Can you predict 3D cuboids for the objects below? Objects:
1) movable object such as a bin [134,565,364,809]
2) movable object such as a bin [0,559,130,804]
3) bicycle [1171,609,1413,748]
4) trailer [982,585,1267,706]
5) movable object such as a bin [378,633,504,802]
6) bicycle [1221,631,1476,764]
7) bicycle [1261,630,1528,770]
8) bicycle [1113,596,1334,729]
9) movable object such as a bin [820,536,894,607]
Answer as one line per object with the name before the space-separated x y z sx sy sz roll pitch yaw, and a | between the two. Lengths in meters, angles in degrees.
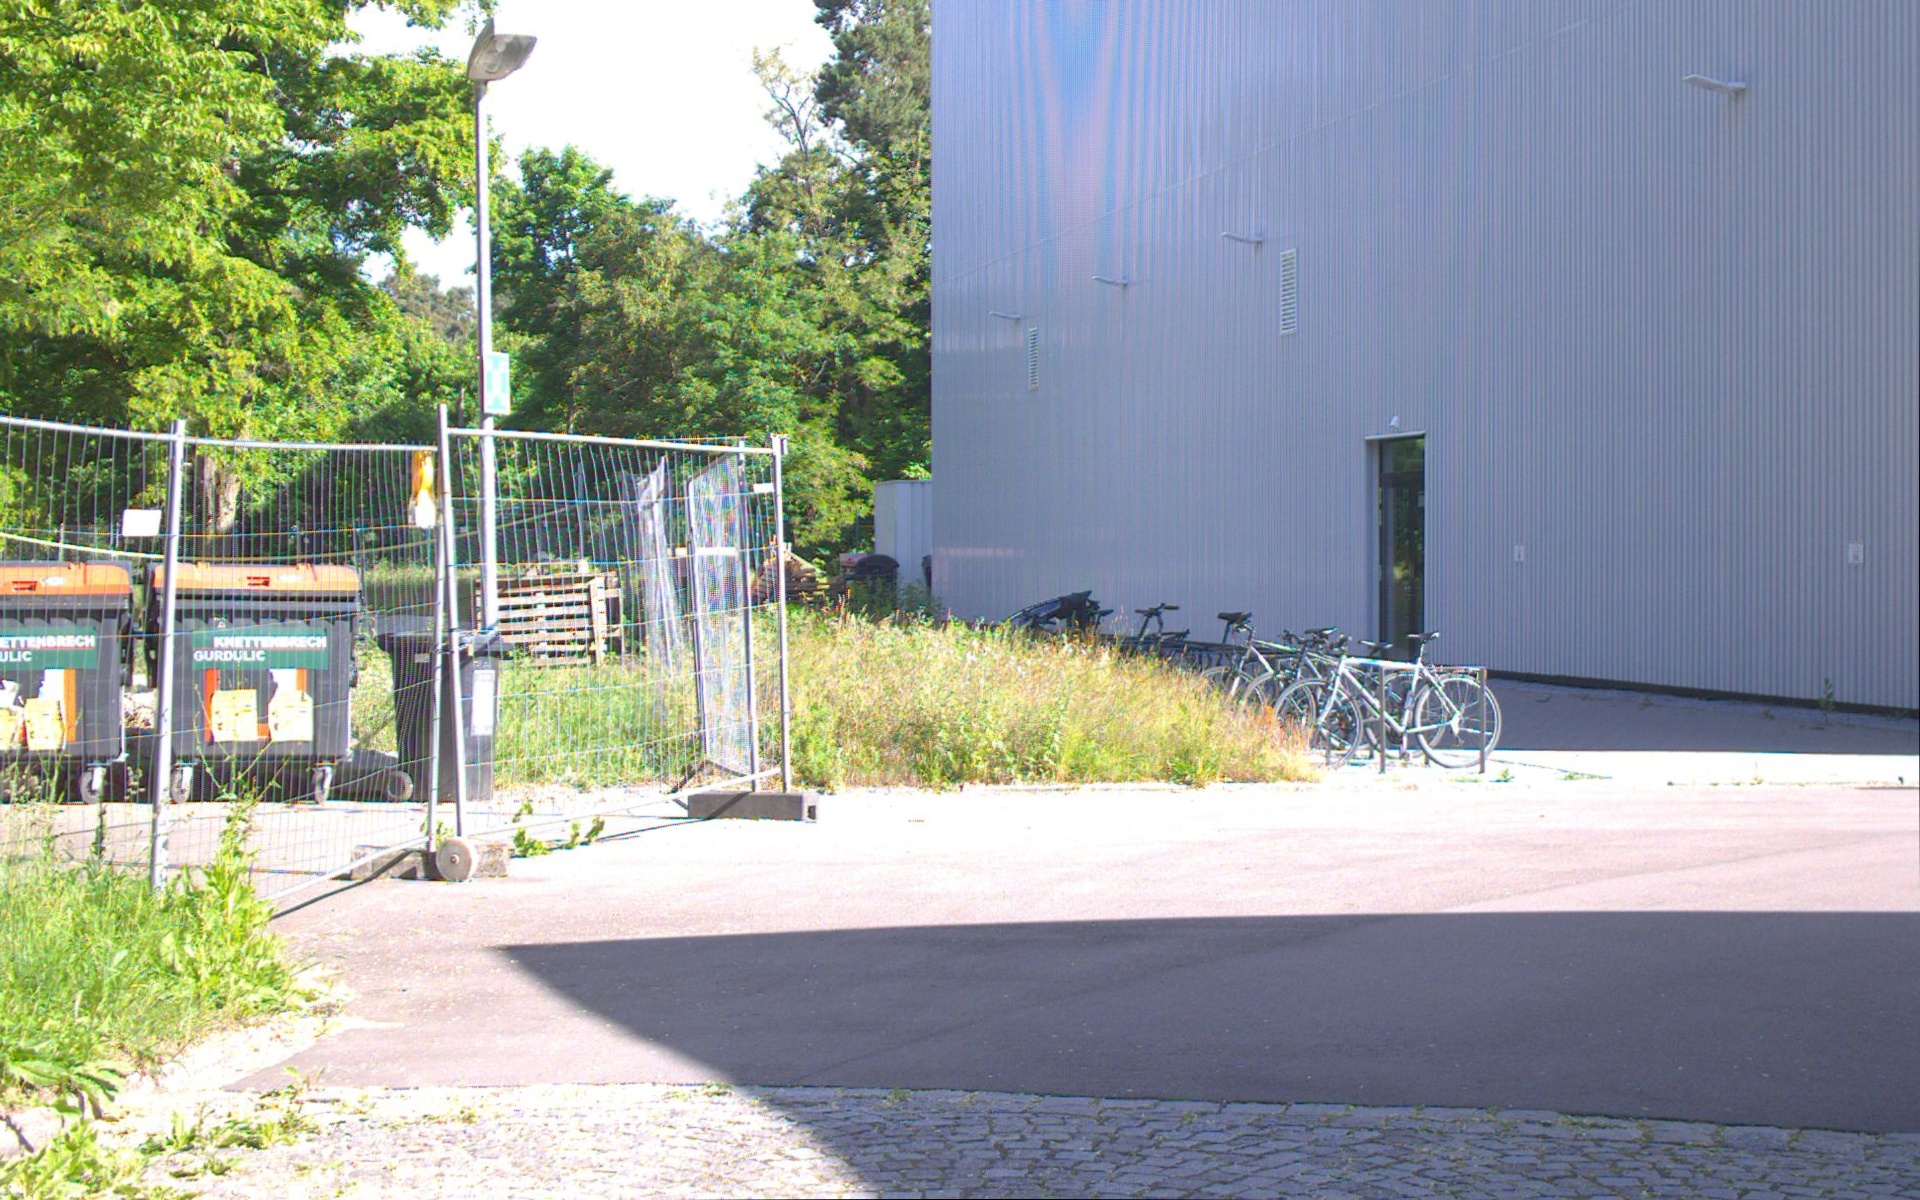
movable object such as a bin | -4.327 0.505 20.867 1.287 1.421 1.033 -1 1 -16
movable object such as a bin | -5.629 0.469 20.524 1.287 1.421 1.033 -1 1 -14
bicycle | 2.659 0.621 27.547 1.883 1.078 0.433 -1 0 -13
trailer | 1.686 0.456 35.555 2.710 1.195 1.246 -1 1 -13
movable object such as a bin | -3.156 0.710 20.953 0.641 1.004 0.605 0 0 4
bicycle | 2.964 0.736 26.225 1.883 0.974 0.433 -1 0 -13
bicycle | 3.163 0.722 25.033 1.883 0.974 0.433 -1 0 -13
bicycle | 2.306 0.540 30.102 1.883 1.122 0.433 -1 0 -13
movable object such as a bin | -2.445 -0.677 81.330 1.363 1.650 2.843 0 1 -10
